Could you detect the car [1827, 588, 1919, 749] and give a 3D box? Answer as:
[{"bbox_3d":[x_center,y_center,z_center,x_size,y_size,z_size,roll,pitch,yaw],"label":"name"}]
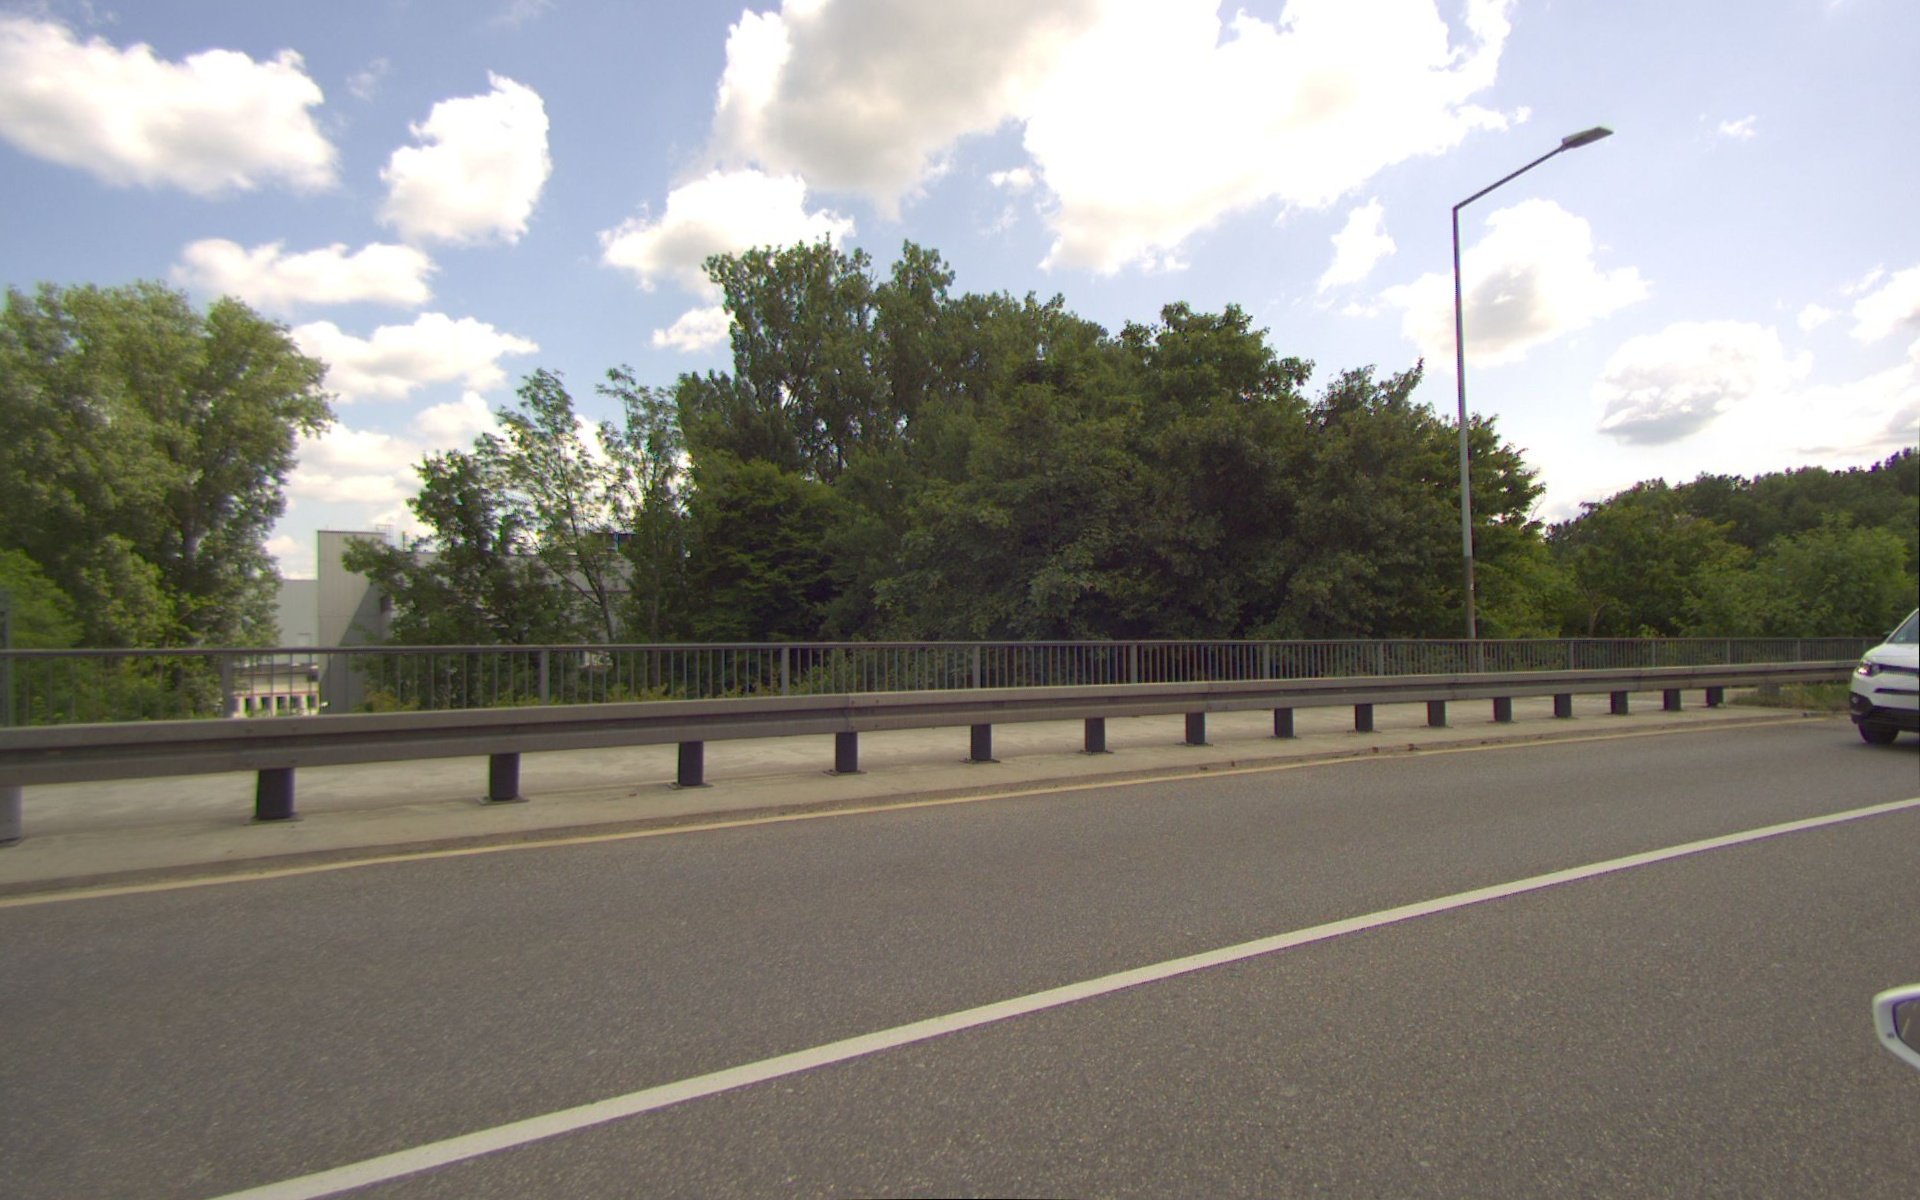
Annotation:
[{"bbox_3d":[12.500,0.780,11.914,4.247,1.777,1.808,1,0,-26],"label":"car"}]
